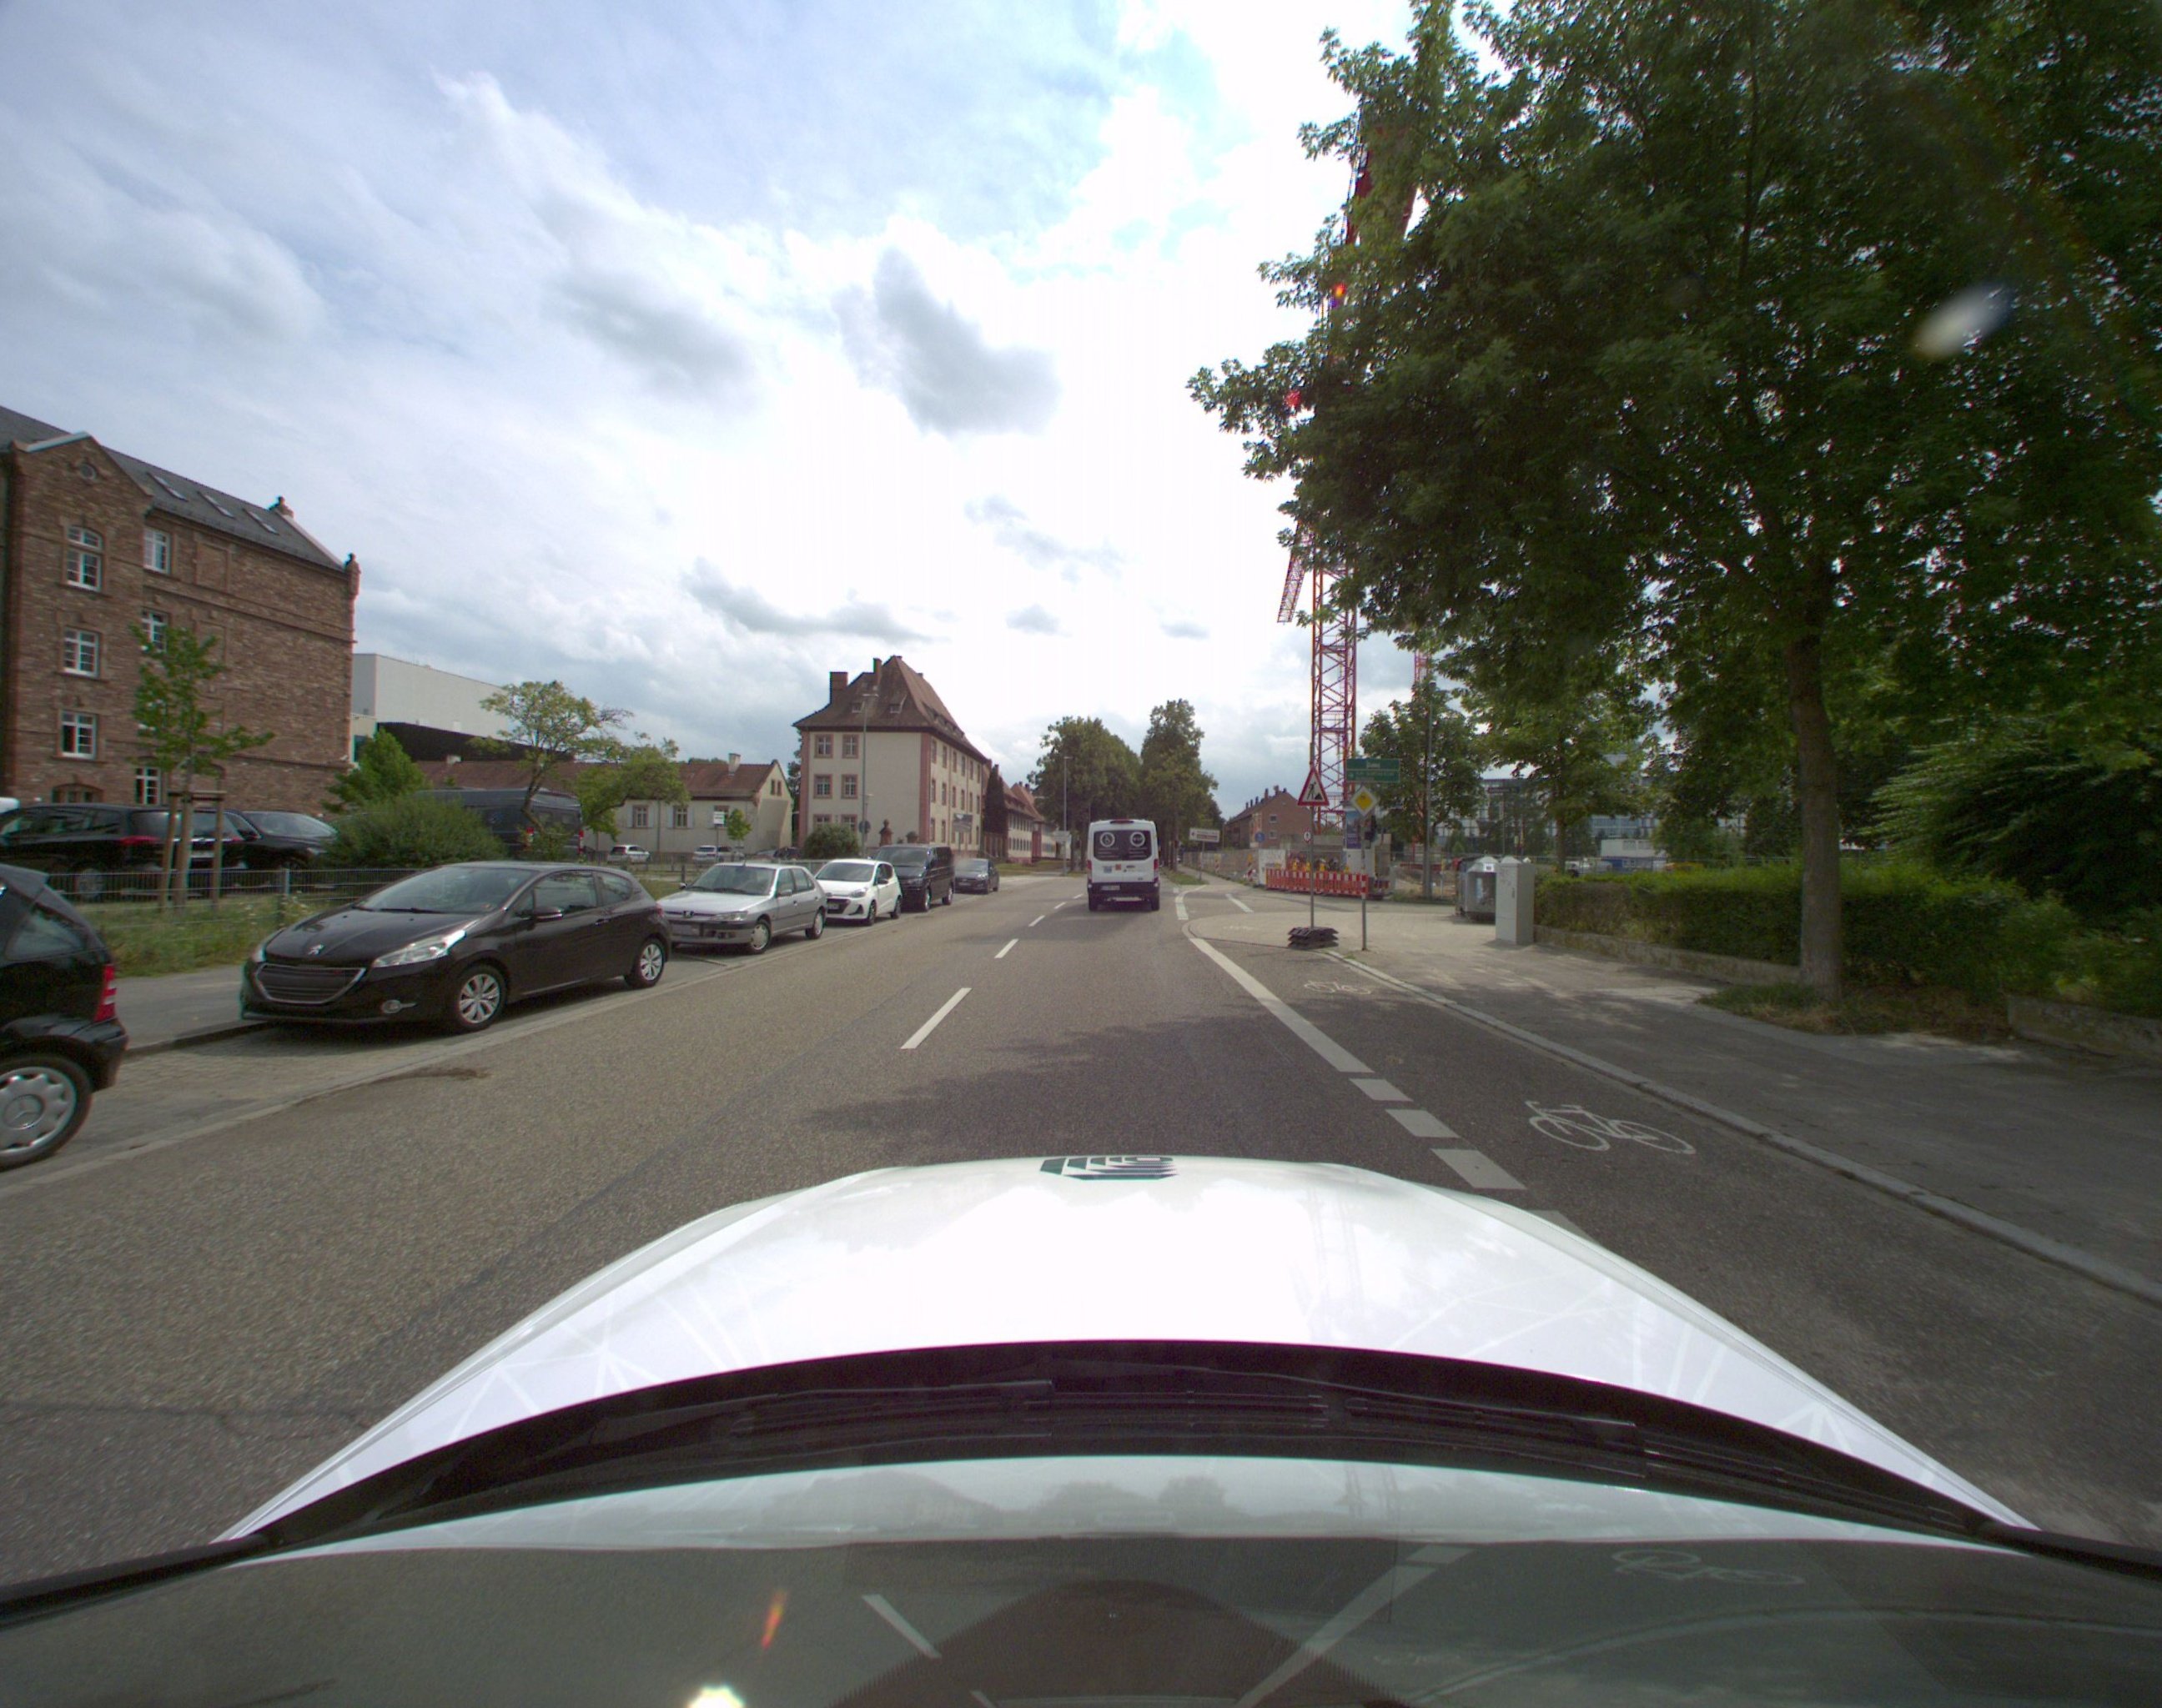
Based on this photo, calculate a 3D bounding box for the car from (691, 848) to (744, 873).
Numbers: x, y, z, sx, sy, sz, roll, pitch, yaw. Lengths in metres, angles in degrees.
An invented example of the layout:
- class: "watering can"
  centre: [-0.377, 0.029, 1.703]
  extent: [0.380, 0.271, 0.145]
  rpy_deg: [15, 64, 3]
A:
- class: "car"
  centre: [-28.027, 0.453, 62.951]
  extent: [1.758, 1.710, 4.298]
  rpy_deg: [1, 2, 6]

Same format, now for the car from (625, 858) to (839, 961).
- class: "car"
  centre: [-5.718, 0.815, 13.987]
  extent: [1.681, 1.457, 4.265]
  rpy_deg: [1, 0, 2]

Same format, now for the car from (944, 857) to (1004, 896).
- class: "car"
  centre: [-4.587, 0.924, 35.502]
  extent: [1.815, 1.473, 4.300]
  rpy_deg: [3, 0, 2]

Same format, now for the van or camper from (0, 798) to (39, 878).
- class: "van or camper"
  centre: [-38.802, -0.534, 27.105]
  extent: [5.027, 2.703, 2.583]
  rpy_deg: [0, -1, 3]

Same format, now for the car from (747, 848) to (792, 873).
- class: "car"
  centre: [-24.004, 0.481, 62.820]
  extent: [1.758, 1.710, 3.703]
  rpy_deg: [1, 2, 6]

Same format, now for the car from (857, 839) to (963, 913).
- class: "car"
  centre: [-5.163, 0.623, 25.384]
  extent: [1.940, 2.004, 4.848]
  rpy_deg: [2, 0, 3]

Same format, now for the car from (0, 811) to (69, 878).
- class: "car"
  centre: [-29.215, -0.215, 20.590]
  extent: [4.669, 1.664, 2.334]
  rpy_deg: [0, 0, 6]

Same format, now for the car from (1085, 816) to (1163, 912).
- class: "car"
  centre: [1.199, 0.294, 23.875]
  extent: [2.055, 2.540, 4.001]
  rpy_deg: [-1, -1, 1]

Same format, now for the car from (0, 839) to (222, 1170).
- class: "car"
  centre: [-5.945, 0.694, 2.831]
  extent: [1.617, 1.575, 3.999]
  rpy_deg: [1, -1, 0]

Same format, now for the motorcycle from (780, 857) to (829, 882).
- class: "motorcycle"
  centre: [-12.927, 0.715, 38.081]
  extent: [2.078, 1.142, 0.727]
  rpy_deg: [-1, -1, 8]

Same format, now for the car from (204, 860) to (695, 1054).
- class: "car"
  centre: [-5.935, 0.821, 8.424]
  extent: [1.680, 1.470, 4.052]
  rpy_deg: [1, 0, 4]

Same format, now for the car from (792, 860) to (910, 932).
- class: "car"
  centre: [-5.503, 0.944, 19.964]
  extent: [1.647, 1.529, 3.766]
  rpy_deg: [2, 0, 2]

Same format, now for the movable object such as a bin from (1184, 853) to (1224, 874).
- class: "movable object such as a bin"
  centre: [16.195, 1.227, 107.047]
  extent: [4.644, 2.590, 3.147]
  rpy_deg: [-1, -1, 18]

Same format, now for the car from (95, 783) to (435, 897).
- class: "car"
  centre: [-16.623, -0.277, 16.763]
  extent: [5.059, 2.150, 2.232]
  rpy_deg: [0, 0, 6]

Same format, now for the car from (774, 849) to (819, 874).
- class: "car"
  centre: [-21.650, 0.518, 62.103]
  extent: [1.758, 1.710, 3.965]
  rpy_deg: [1, 2, 6]

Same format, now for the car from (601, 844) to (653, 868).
- class: "car"
  centre: [-35.580, 0.142, 63.959]
  extent: [1.758, 1.710, 3.703]
  rpy_deg: [1, 2, 6]

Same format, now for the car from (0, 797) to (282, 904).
- class: "car"
  centre: [-17.316, -0.082, 14.231]
  extent: [5.059, 1.673, 2.004]
  rpy_deg: [1, 0, 6]

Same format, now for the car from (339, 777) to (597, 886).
- class: "car"
  centre: [-16.582, -0.585, 22.226]
  extent: [5.285, 2.552, 2.358]
  rpy_deg: [3, 0, 5]
